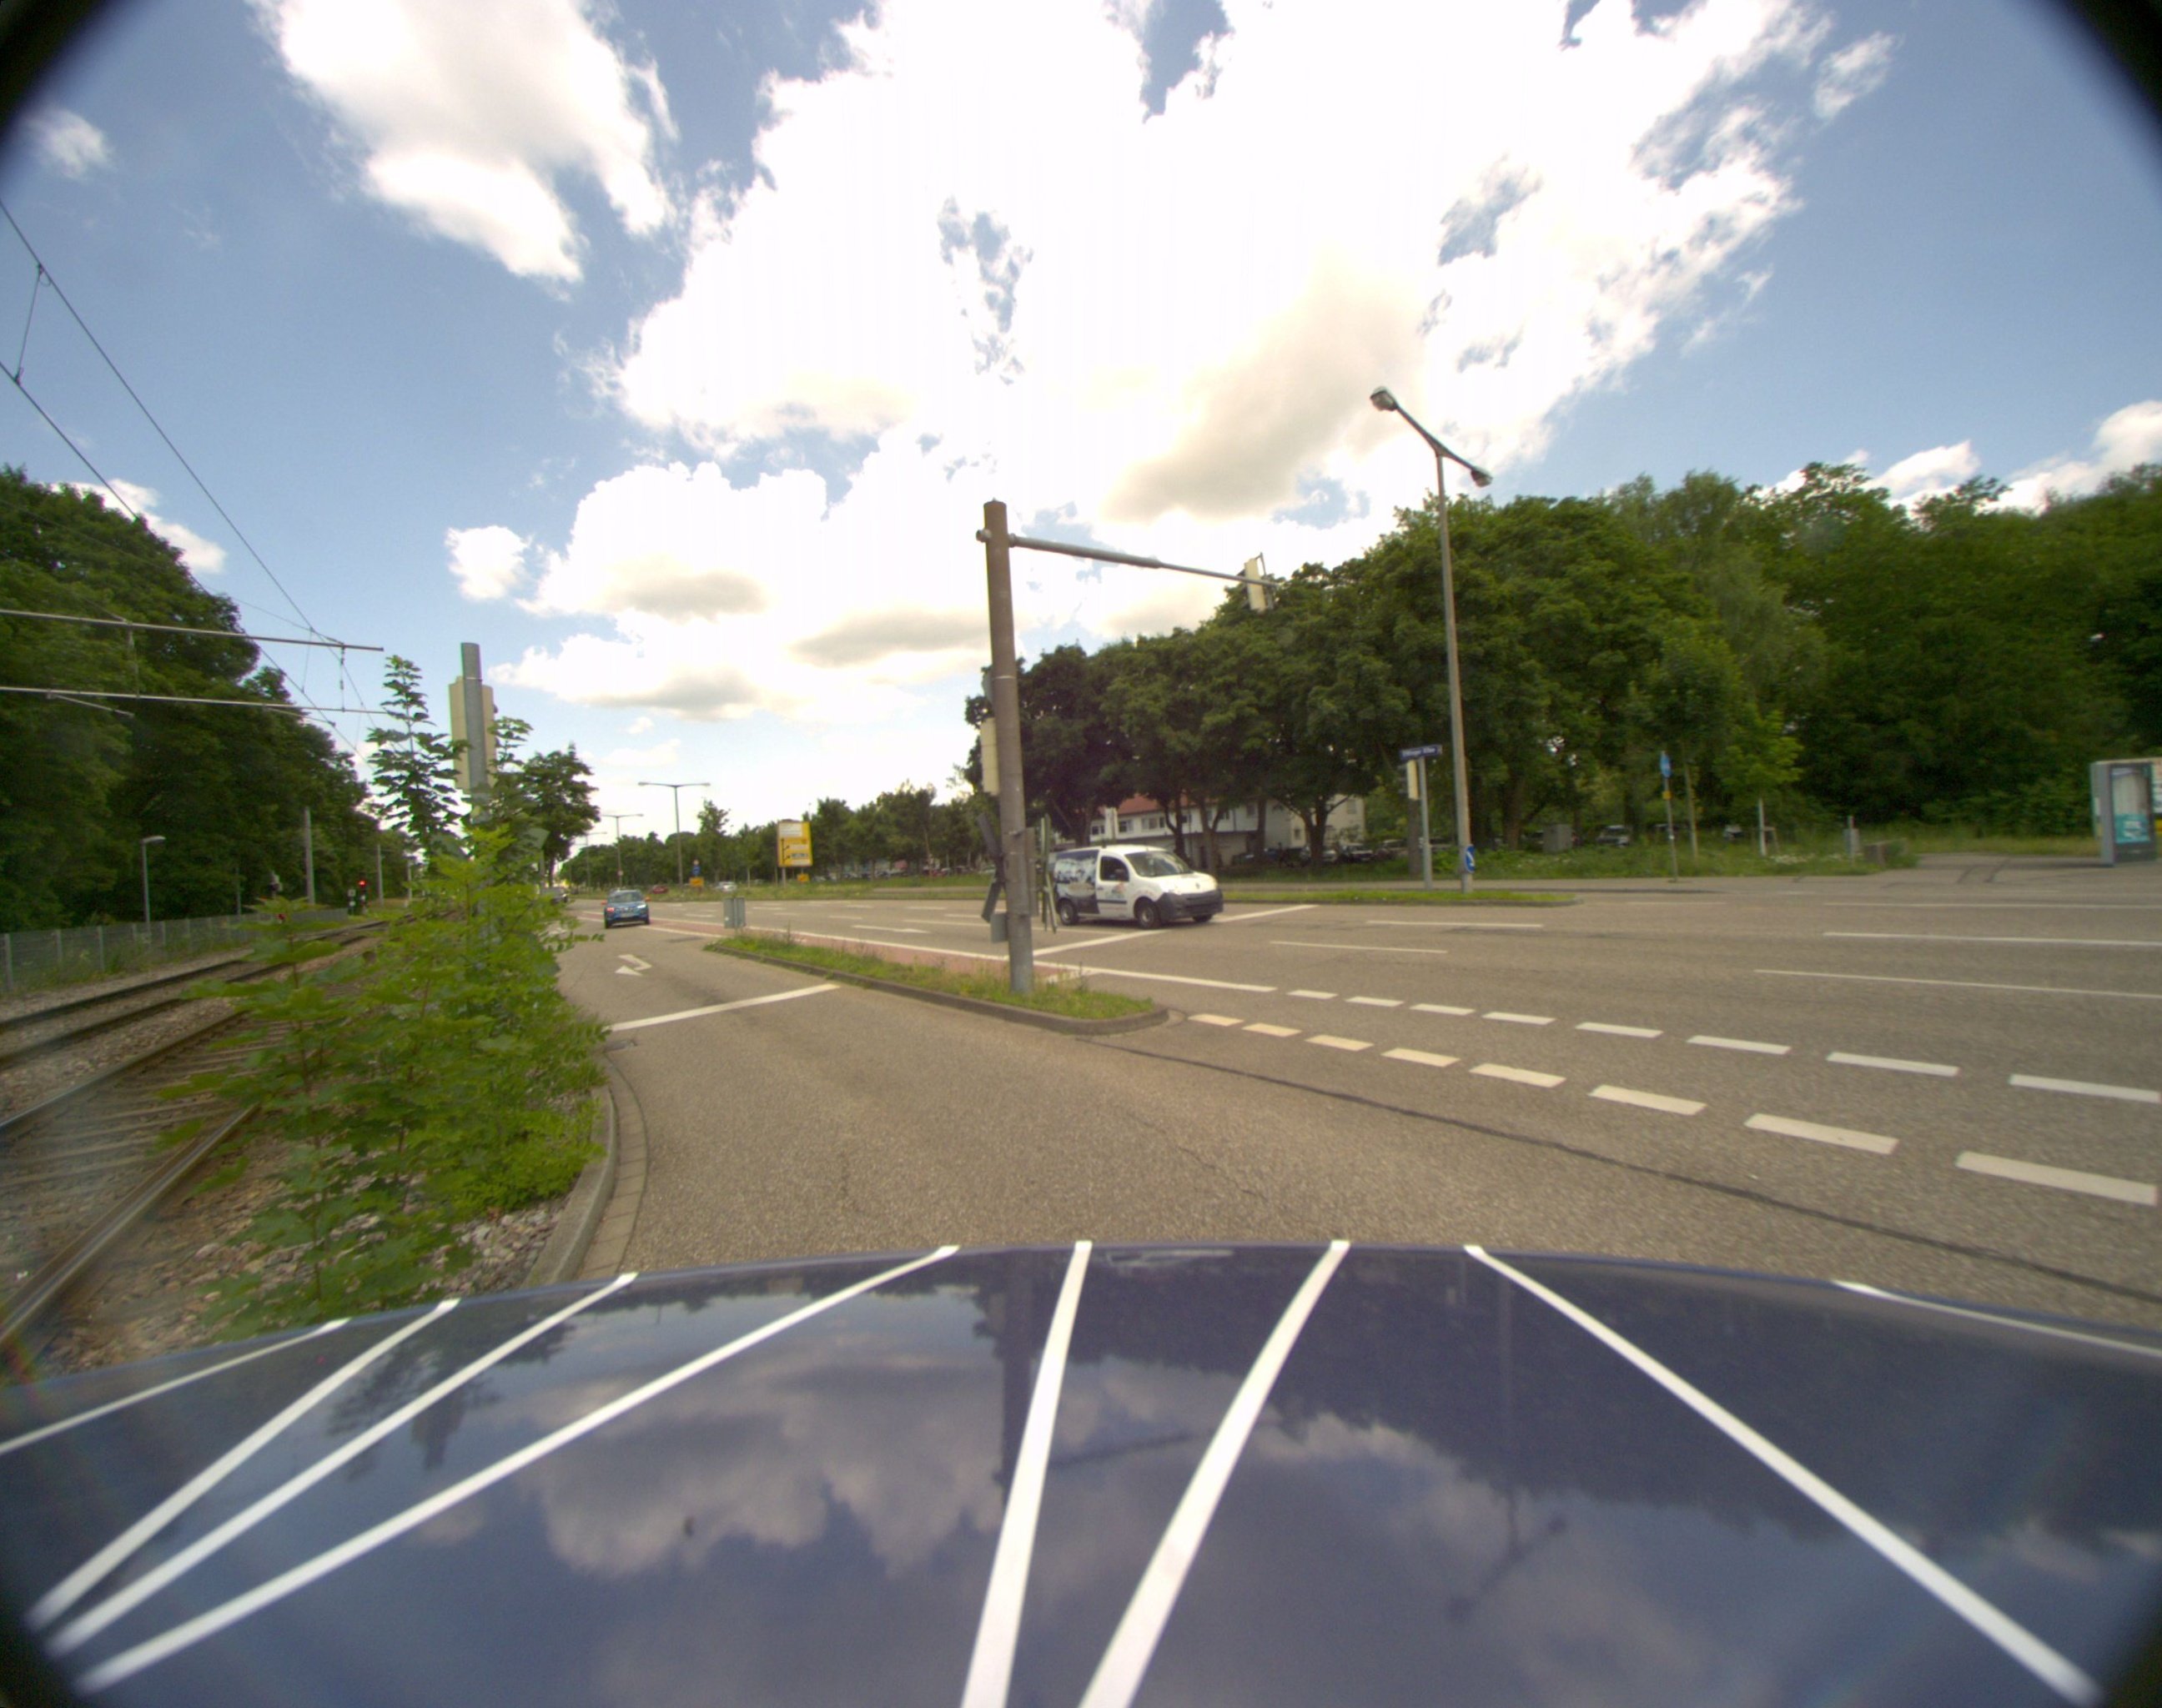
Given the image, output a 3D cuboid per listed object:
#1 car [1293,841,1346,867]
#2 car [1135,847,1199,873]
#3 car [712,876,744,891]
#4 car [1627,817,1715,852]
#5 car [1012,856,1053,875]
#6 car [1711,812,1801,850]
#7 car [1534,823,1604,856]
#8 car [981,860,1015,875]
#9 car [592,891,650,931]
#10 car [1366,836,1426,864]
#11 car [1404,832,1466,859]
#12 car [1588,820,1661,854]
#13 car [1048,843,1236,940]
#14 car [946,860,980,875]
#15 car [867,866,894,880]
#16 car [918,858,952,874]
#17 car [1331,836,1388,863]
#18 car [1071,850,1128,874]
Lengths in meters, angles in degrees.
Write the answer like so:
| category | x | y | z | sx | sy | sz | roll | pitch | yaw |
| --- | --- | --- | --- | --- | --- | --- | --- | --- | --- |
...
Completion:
| category | x | y | z | sx | sy | sz | roll | pitch | yaw |
| --- | --- | --- | --- | --- | --- | --- | --- | --- | --- |
| car | 15.179 | 0.011 | 48.526 | 1.999 | 1.475 | 4.023 | -3 | 0 | -1 |
| car | 6.306 | 0.436 | 56.218 | 4.353 | 1.648 | 1.816 | -3 | 1 | 42 |
| car | -36.214 | 3.012 | 77.922 | 1.809 | 1.423 | 4.485 | -3 | 0 | -40 |
| car | 32.853 | -1.082 | 42.305 | 4.583 | 1.715 | 2.042 | -3 | 0 | -26 |
| car | -4.449 | 1.052 | 69.167 | 1.767 | 1.578 | 4.013 | -3 | 0 | -37 |
| car | 35.442 | -1.201 | 39.899 | 4.132 | 1.715 | 2.072 | -3 | 0 | -26 |
| car | 29.810 | -0.892 | 46.403 | 4.133 | 1.717 | 1.815 | -3 | 0 | -29 |
| car | -8.052 | 1.336 | 73.395 | 1.629 | 1.323 | 3.468 | -3 | 0 | -37 |
| car | -19.155 | 2.301 | 31.576 | 1.608 | 1.455 | 3.694 | -2 | -1 | -37 |
| car | 20.220 | -0.238 | 48.961 | 1.999 | 1.578 | 4.024 | -3 | -2 | -1 |
| car | 22.712 | -0.512 | 48.911 | 1.999 | 1.536 | 4.023 | -3 | 0 | -1 |
| car | 31.759 | -1.001 | 44.350 | 4.133 | 1.699 | 1.815 | -3 | 0 | -29 |
| car | 1.197 | 0.784 | 16.730 | 1.751 | 1.775 | 4.146 | -5 | 1 | -36 |
| car | -12.222 | 1.419 | 78.623 | 1.734 | 1.403 | 3.856 | -3 | 0 | -37 |
| car | -25.716 | 2.426 | 97.389 | 2.003 | 1.578 | 4.013 | -3 | 0 | -37 |
| car | -16.104 | 1.364 | 83.663 | 2.003 | 1.578 | 4.013 | -3 | 0 | -37 |
| car | 17.794 | -0.245 | 48.723 | 1.999 | 1.578 | 4.023 | -3 | 0 | -1 |
| car | 1.454 | 0.640 | 61.261 | 1.892 | 1.700 | 4.917 | -3 | 0 | -37 |
